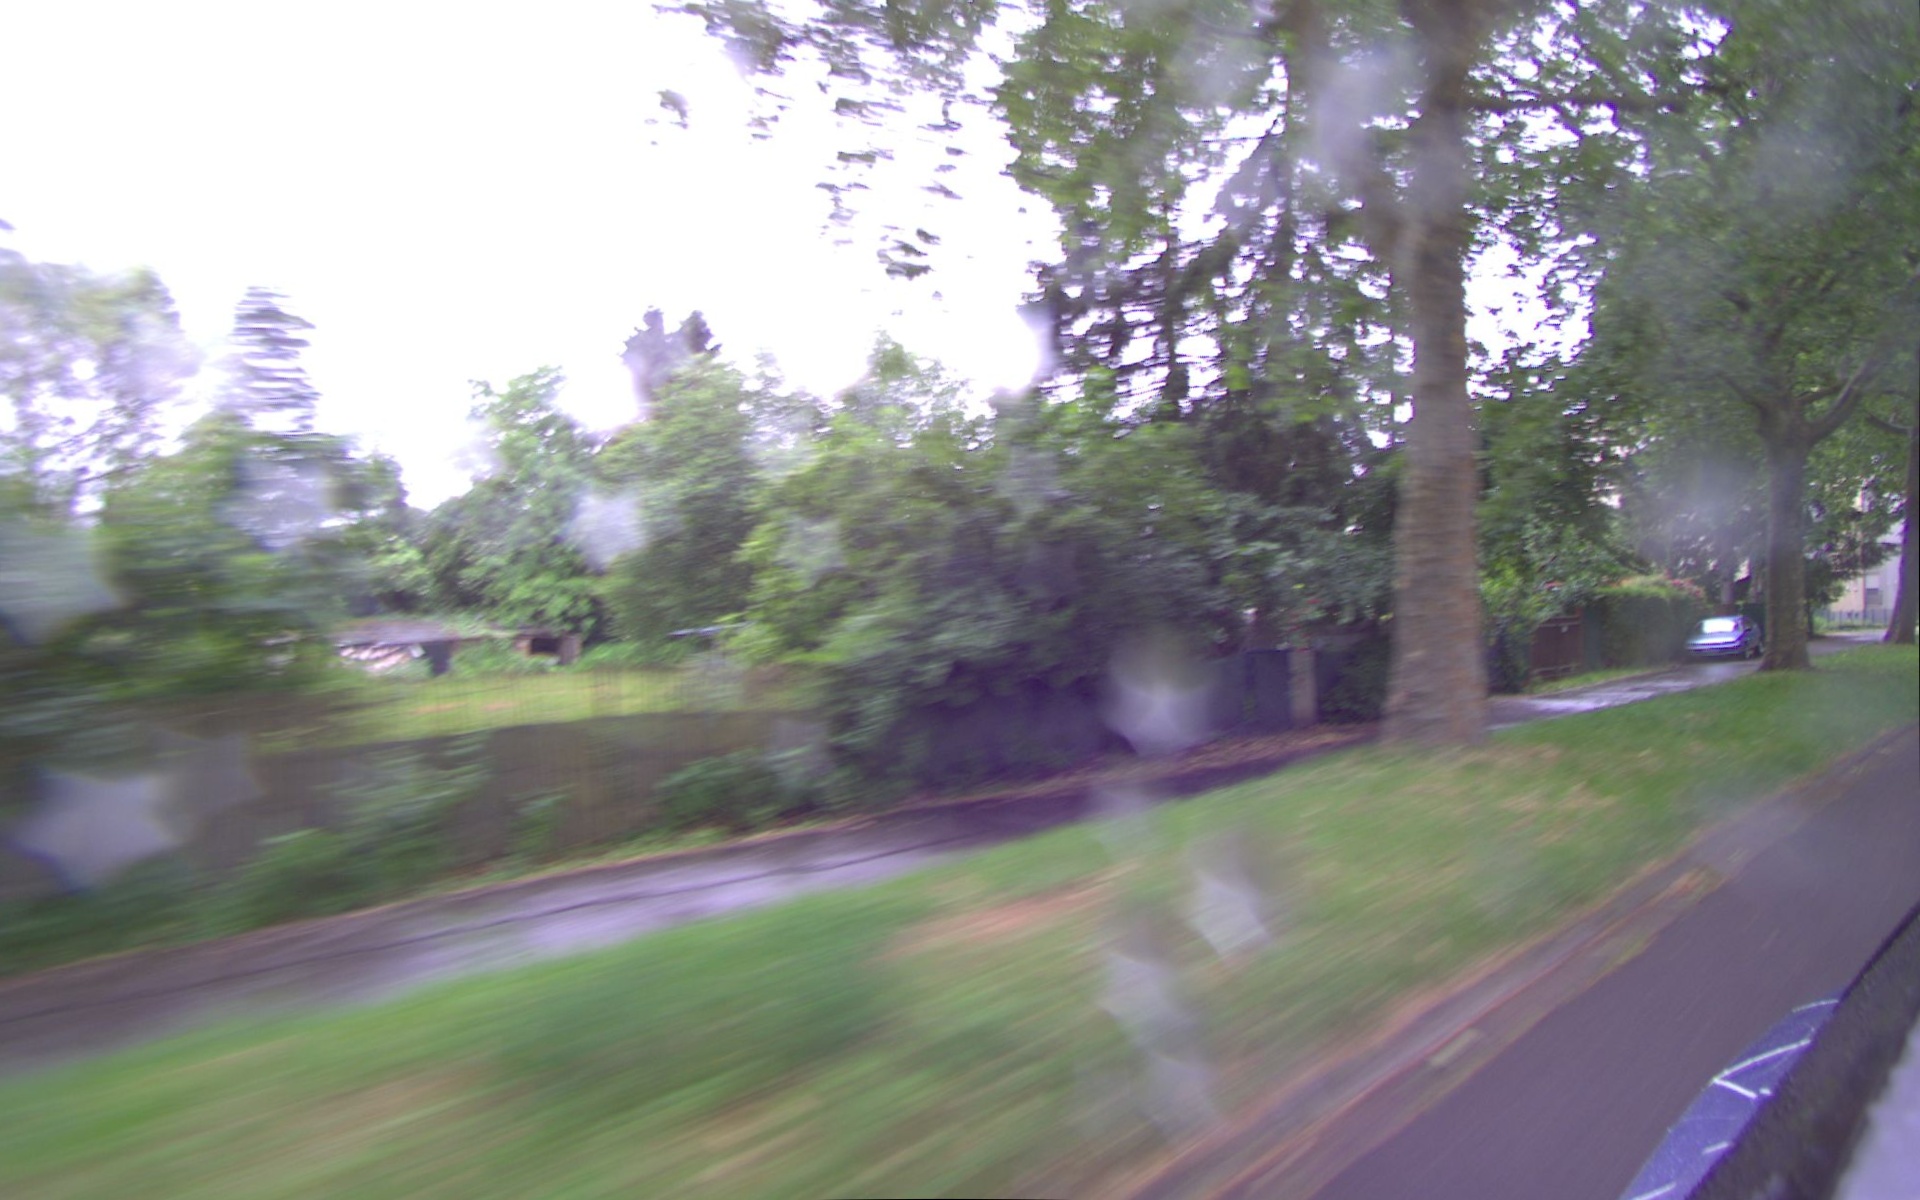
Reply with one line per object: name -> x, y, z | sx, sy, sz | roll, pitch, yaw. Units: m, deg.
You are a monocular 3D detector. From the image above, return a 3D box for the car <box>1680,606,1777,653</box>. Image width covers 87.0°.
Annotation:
car -> 25.655, 0.967, 33.734 | 3.932, 1.342, 1.797 | -1, -4, -42
